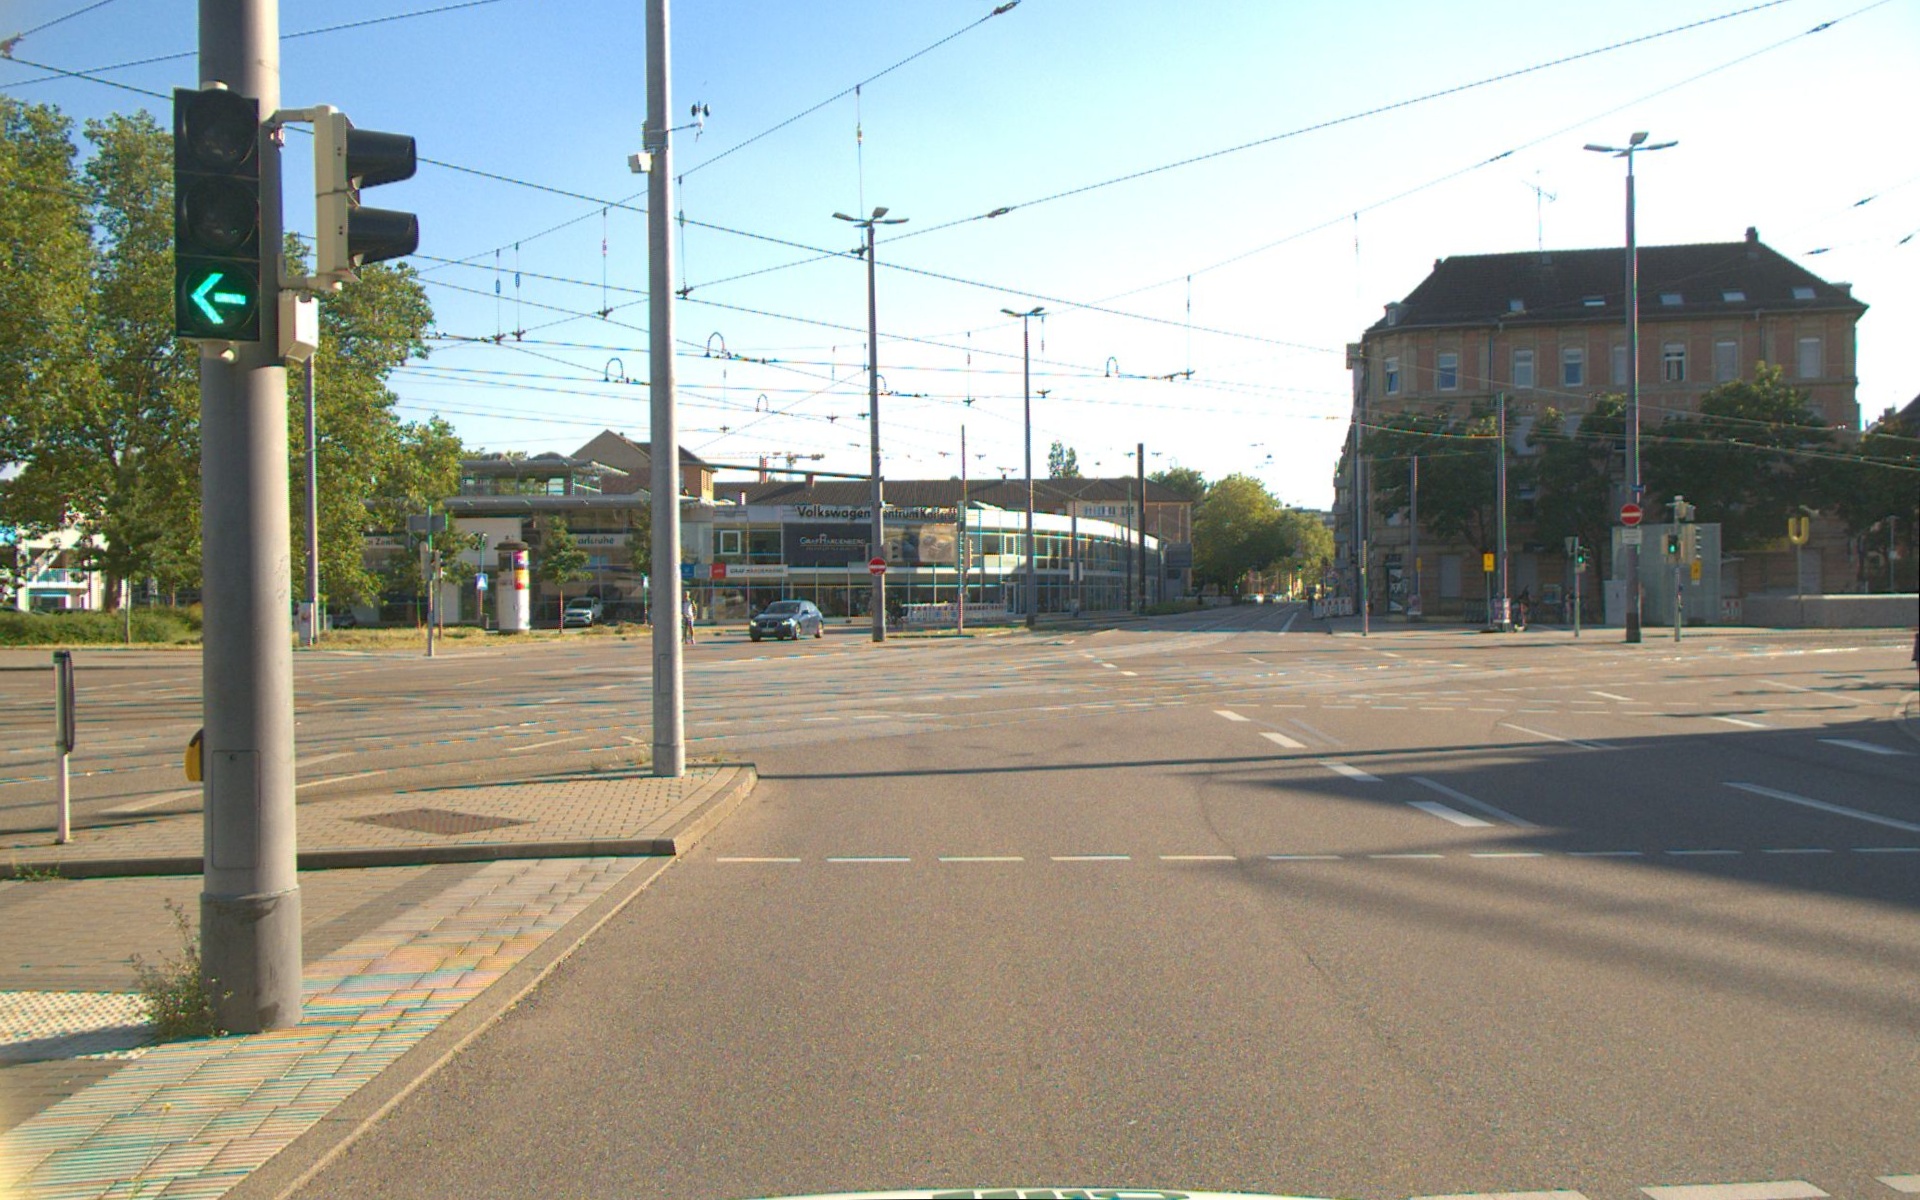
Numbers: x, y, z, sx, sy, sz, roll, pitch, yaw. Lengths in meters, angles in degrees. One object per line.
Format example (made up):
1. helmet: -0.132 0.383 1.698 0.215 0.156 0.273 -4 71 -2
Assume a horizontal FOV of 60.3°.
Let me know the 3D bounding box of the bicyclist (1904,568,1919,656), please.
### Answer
1. bicyclist: 17.452 0.223 29.586 0.505 1.584 0.945 1 -1 -9

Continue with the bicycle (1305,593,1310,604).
1. bicycle: 29.388 -0.117 139.841 0.401 0.958 1.847 1 -1 12

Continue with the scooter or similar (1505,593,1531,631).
1. scooter or similar: 21.312 0.473 63.191 0.769 1.400 1.910 1 -1 13

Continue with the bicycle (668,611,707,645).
1. bicycle: -9.751 1.006 59.167 0.599 1.210 1.870 1 -1 16

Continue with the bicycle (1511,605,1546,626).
1. bicycle: 26.544 0.724 77.240 1.561 0.969 0.659 1 -1 19

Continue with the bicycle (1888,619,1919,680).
1. bicycle: 17.495 0.904 29.274 0.524 1.067 2.316 1 1 -9

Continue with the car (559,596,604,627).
1. car: -22.496 0.692 98.422 1.954 1.780 3.996 1 -1 -4

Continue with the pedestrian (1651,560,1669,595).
1. pedestrian: 41.793 -1.345 98.760 0.702 2.049 0.758 1 -1 0

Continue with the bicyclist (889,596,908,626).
1. bicyclist: -3.360 0.589 90.105 0.641 1.600 0.921 0 -1 28

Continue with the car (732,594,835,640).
1. car: -6.473 0.640 61.169 1.954 1.613 3.996 1 -1 26

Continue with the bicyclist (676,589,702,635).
1. bicyclist: -9.704 0.429 59.316 0.585 1.644 0.823 1 -1 16

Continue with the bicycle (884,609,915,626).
1. bicycle: -3.302 0.967 90.168 0.626 0.886 2.231 0 -1 28

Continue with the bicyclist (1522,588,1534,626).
1. bicyclist: 26.517 0.324 77.262 0.503 1.730 0.520 1 -1 19
